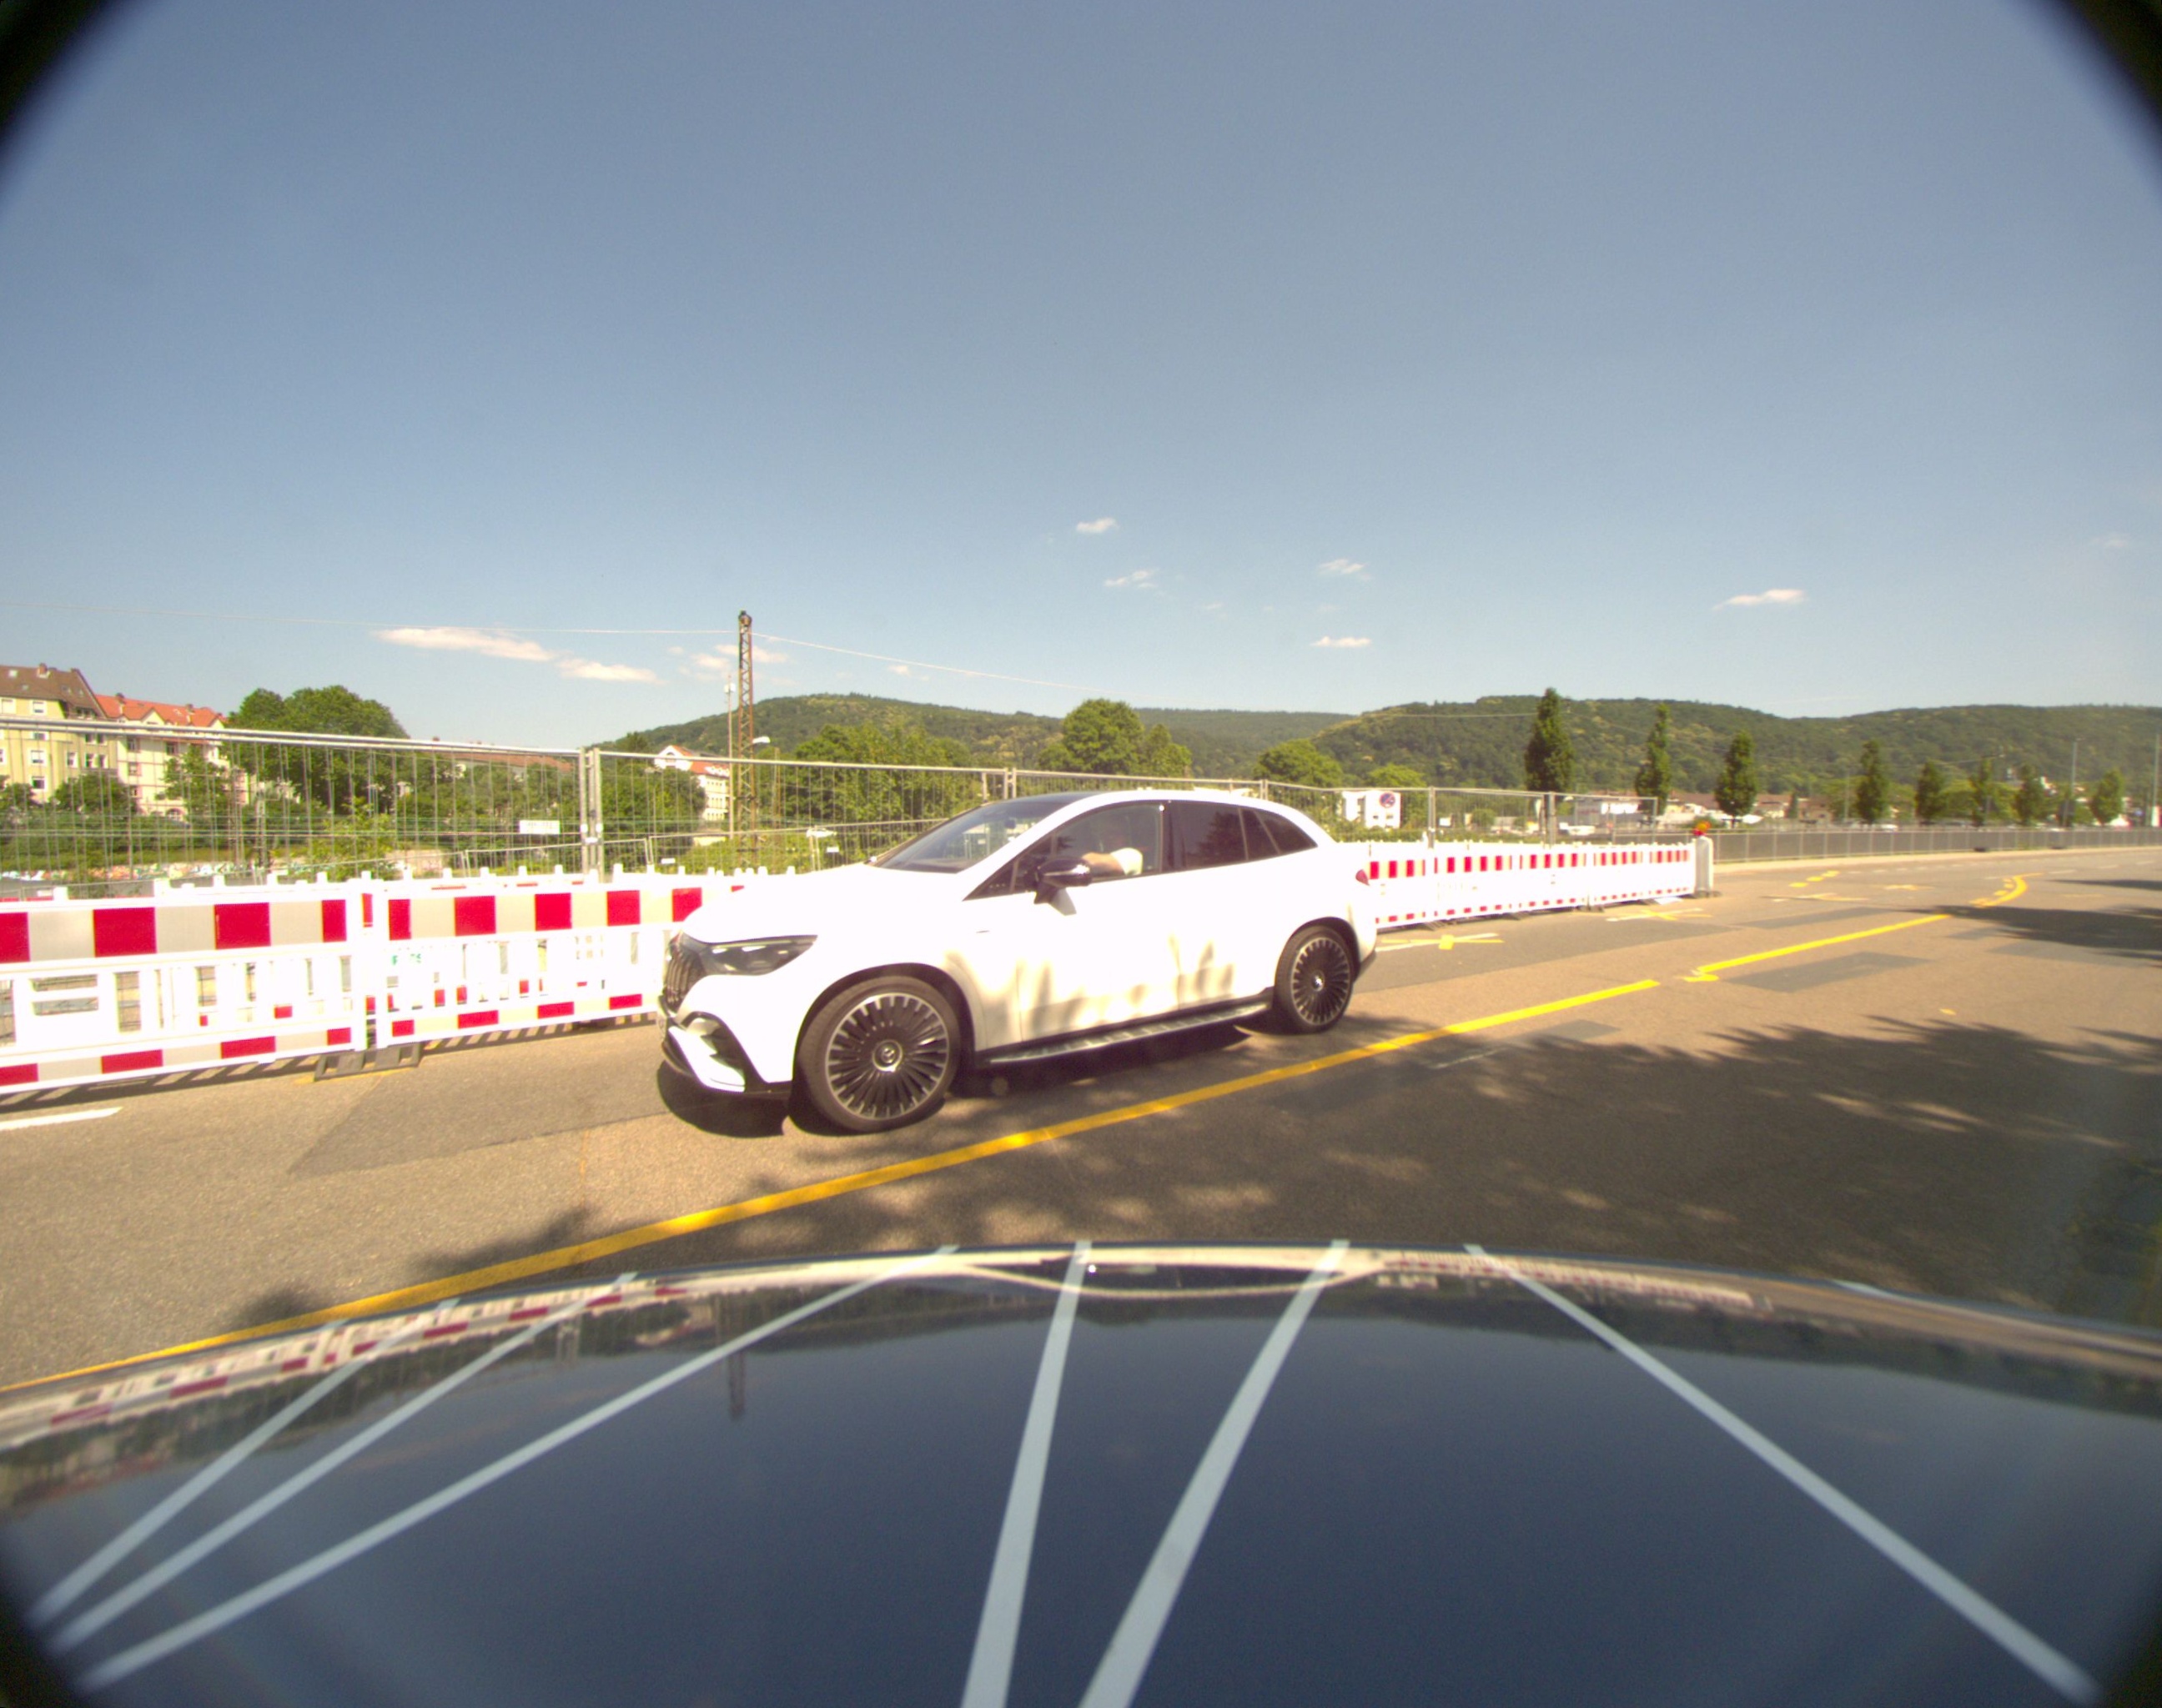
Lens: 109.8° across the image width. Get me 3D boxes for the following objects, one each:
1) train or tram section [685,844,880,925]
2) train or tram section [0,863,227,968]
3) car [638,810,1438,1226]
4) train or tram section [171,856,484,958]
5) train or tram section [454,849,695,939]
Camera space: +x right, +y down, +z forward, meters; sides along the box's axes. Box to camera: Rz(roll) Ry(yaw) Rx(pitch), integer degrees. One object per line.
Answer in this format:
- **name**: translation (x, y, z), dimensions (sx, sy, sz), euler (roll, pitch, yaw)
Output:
- **train or tram section**: translation (-15.362, 1.449, 39.605), dimensions (8.981, 3.680, 3.018), euler (-2, 1, -22)
- **train or tram section**: translation (-40.217, 2.358, 29.418), dimensions (8.981, 3.682, 3.018), euler (-2, 1, -22)
- **car**: translation (-0.014, 0.556, 5.141), dimensions (5.039, 1.636, 1.994), euler (-2, 3, -32)
- **train or tram section**: translation (-31.911, 2.079, 32.810), dimensions (8.981, 3.690, 3.018), euler (-2, 1, -22)
- **train or tram section**: translation (-23.624, 1.740, 36.202), dimensions (8.981, 3.693, 3.018), euler (-2, 1, -22)
